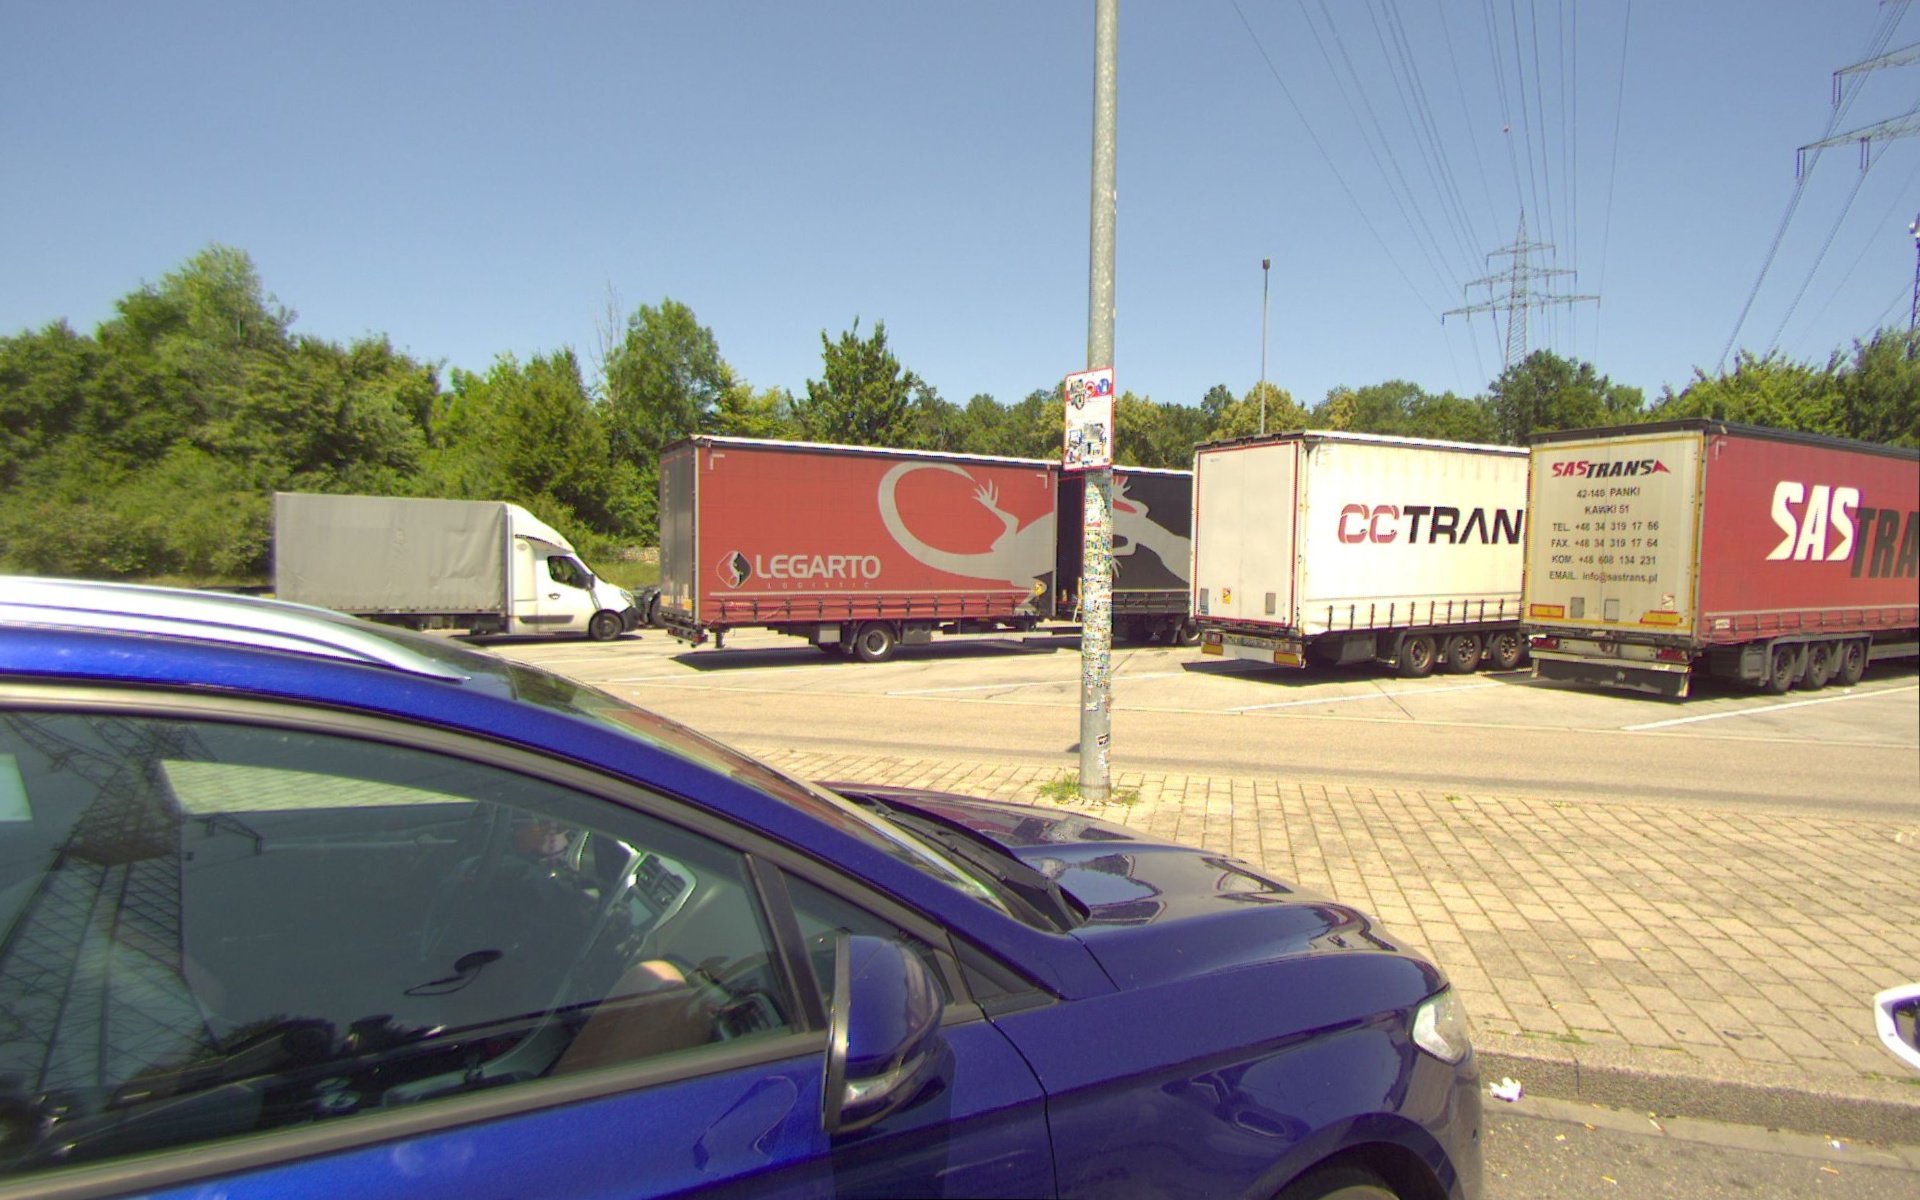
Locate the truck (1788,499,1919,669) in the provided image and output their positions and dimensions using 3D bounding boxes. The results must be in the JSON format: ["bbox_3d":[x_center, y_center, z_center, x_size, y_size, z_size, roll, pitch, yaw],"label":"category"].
[{"bbox_3d":[21.220,-0.396,21.999,5.829,3.373,2.837,-1,3,-30],"label":"truck"}]

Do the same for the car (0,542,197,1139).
[{"bbox_3d":[-4.603,0.601,2.225,4.444,1.520,1.762,0,2,-32],"label":"car"}]

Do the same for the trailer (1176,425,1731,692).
[{"bbox_3d":[10.598,-0.802,20.334,13.962,4.141,2.782,-1,3,-30],"label":"trailer"}]

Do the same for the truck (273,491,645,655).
[{"bbox_3d":[-11.178,-0.627,23.024,7.204,3.279,2.727,-1,3,-29],"label":"truck"}]

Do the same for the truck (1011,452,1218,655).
[{"bbox_3d":[3.581,-1.069,23.448,3.947,4.298,2.723,-1,3,-30],"label":"truck"}]

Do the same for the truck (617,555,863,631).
[{"bbox_3d":[-6.335,-0.233,29.273,6.733,2.041,1.987,-1,1,-26],"label":"truck"}]

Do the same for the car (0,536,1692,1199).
[{"bbox_3d":[-1.027,0.678,1.492,4.444,1.511,1.859,0,2,-32],"label":"car"}]

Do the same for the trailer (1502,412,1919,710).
[{"bbox_3d":[15.617,-0.694,18.722,13.962,4.141,2.777,-1,3,-30],"label":"trailer"}]

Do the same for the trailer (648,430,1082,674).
[{"bbox_3d":[-1.732,-0.902,20.328,8.376,4.141,2.722,-1,3,-30],"label":"trailer"}]

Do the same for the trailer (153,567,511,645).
[{"bbox_3d":[-15.153,0.054,24.894,7.204,1.711,2.249,-1,3,-29],"label":"trailer"}]
